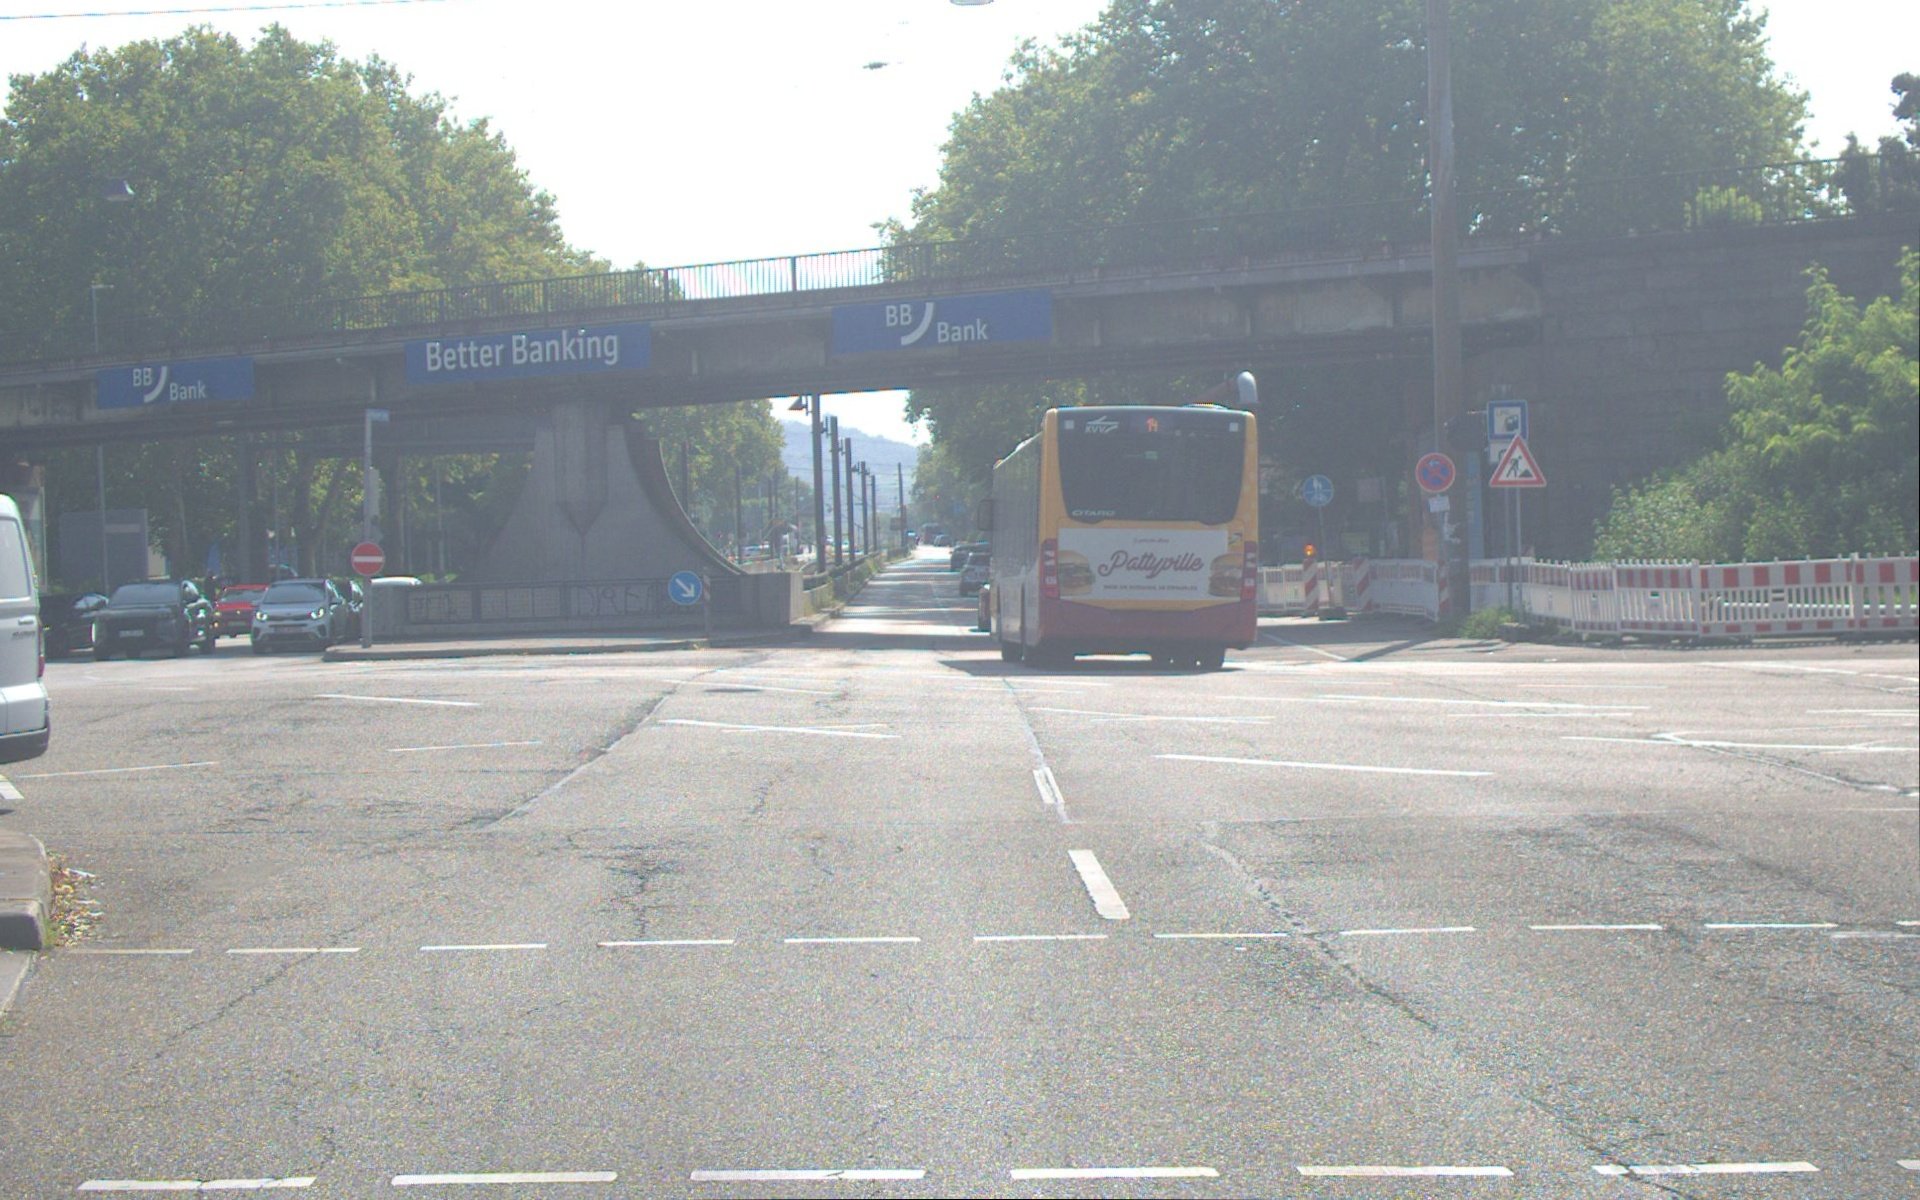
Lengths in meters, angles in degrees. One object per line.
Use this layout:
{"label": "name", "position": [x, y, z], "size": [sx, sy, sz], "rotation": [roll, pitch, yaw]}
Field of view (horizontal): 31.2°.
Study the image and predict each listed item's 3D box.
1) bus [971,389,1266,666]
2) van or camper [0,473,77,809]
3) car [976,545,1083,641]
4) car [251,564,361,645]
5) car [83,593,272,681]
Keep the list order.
{"label": "bus", "position": [1.818, -0.883, 45.234], "size": [3.134, 3.103, 12.290], "rotation": [1, 1, -1]}
{"label": "van or camper", "position": [-8.004, 0.249, 20.579], "size": [4.934, 1.940, 1.846], "rotation": [0, 3, 14]}
{"label": "car", "position": [1.480, -0.169, 74.737], "size": [1.993, 2.007, 4.001], "rotation": [1, 1, -3]}
{"label": "car", "position": [-13.378, 0.076, 70.465], "size": [1.721, 1.533, 3.696], "rotation": [-3, 1, -4]}
{"label": "car", "position": [-16.198, 0.747, 71.381], "size": [1.903, 1.611, 4.471], "rotation": [-3, 0, 15]}
